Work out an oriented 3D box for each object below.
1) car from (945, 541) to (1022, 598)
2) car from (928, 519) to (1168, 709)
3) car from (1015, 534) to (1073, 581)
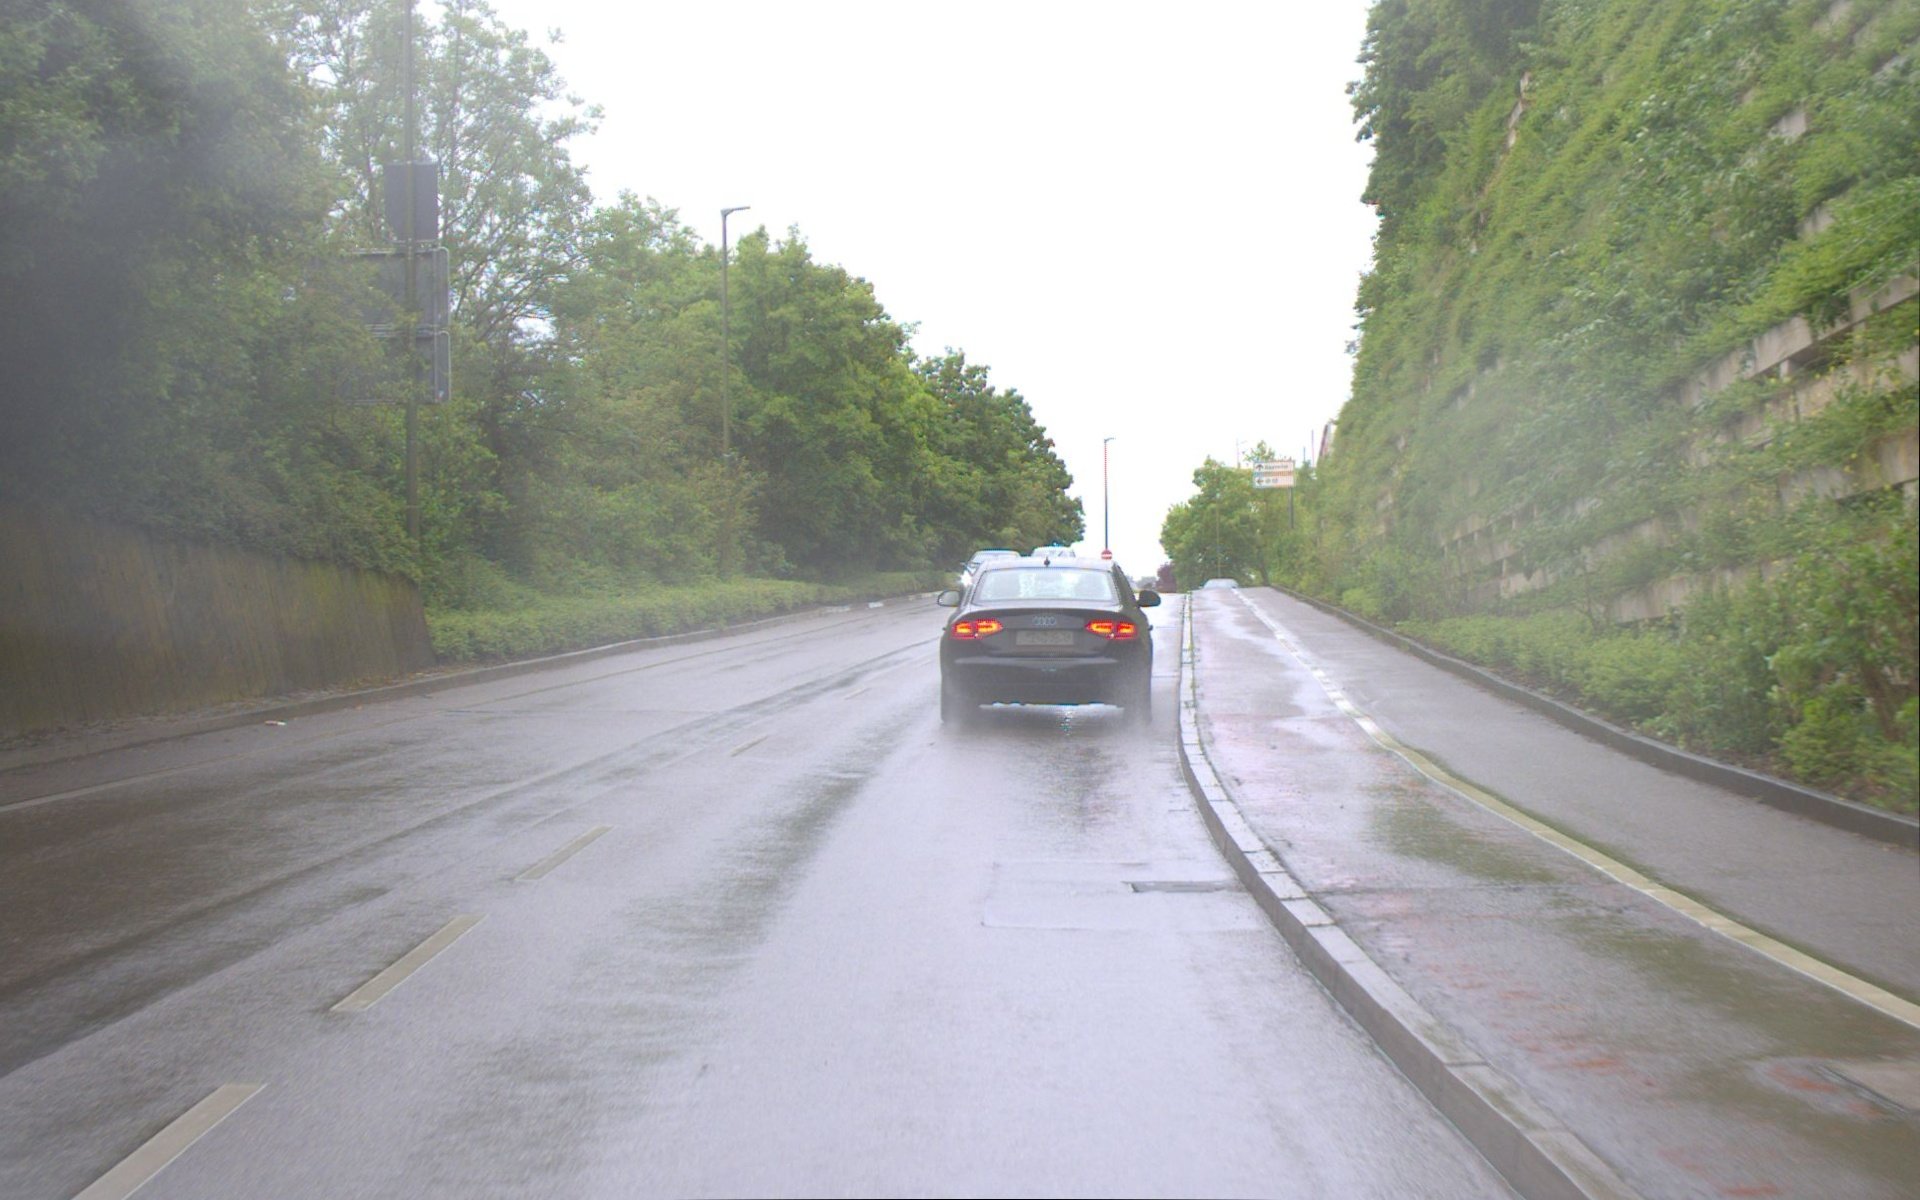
[{"bbox_3d":[0.650,-0.835,91.615,1.865,1.444,4.377,-1,1,2],"label":"car"},{"bbox_3d":[0.799,0.119,29.859,1.893,1.487,4.207,-2,0,3],"label":"car"},{"bbox_3d":[2.920,-1.471,118.664,1.823,1.609,4.093,0,1,4],"label":"car"}]
